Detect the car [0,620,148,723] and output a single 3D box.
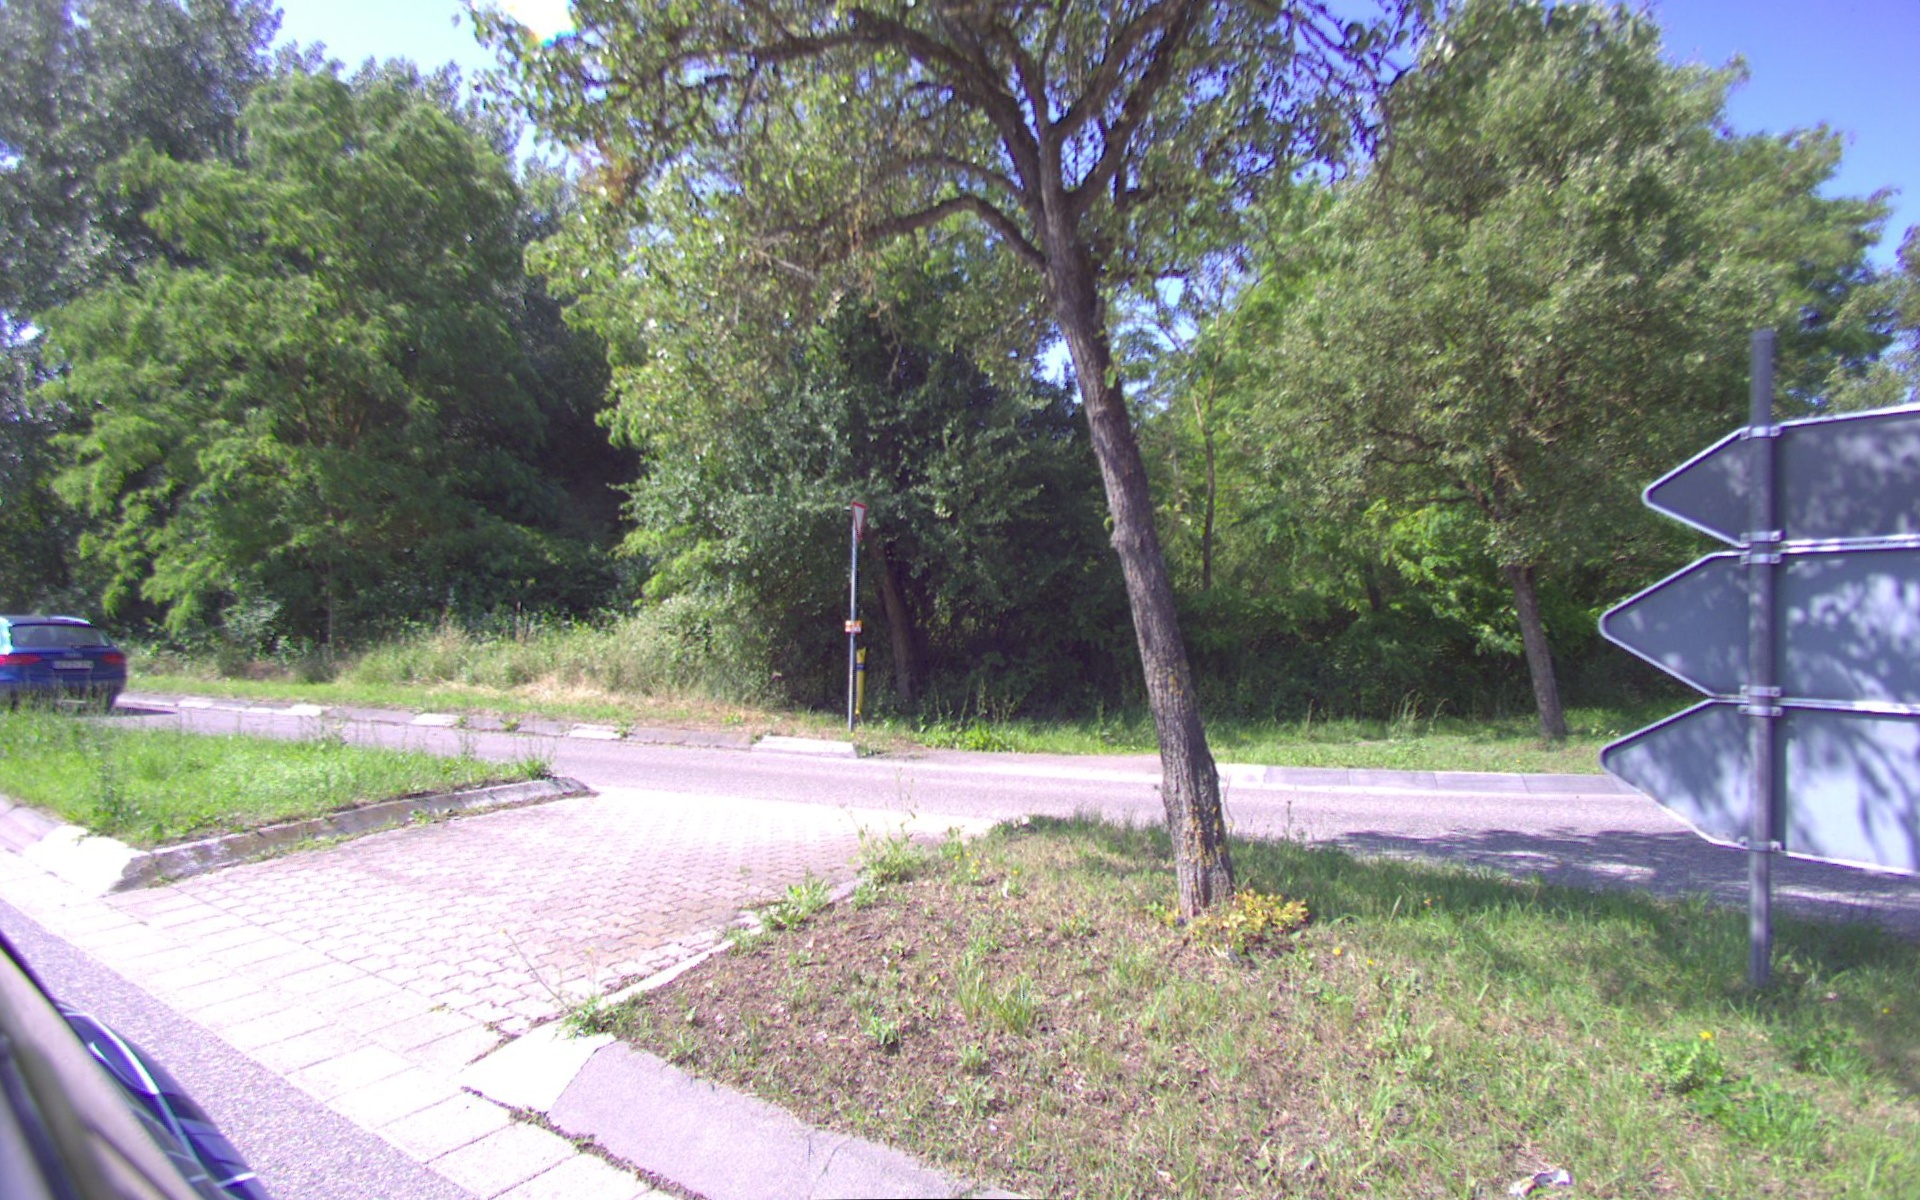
[{"bbox_3d":[-14.660,1.029,15.462,4.401,1.398,1.822,-1,-3,27],"label":"car"}]
